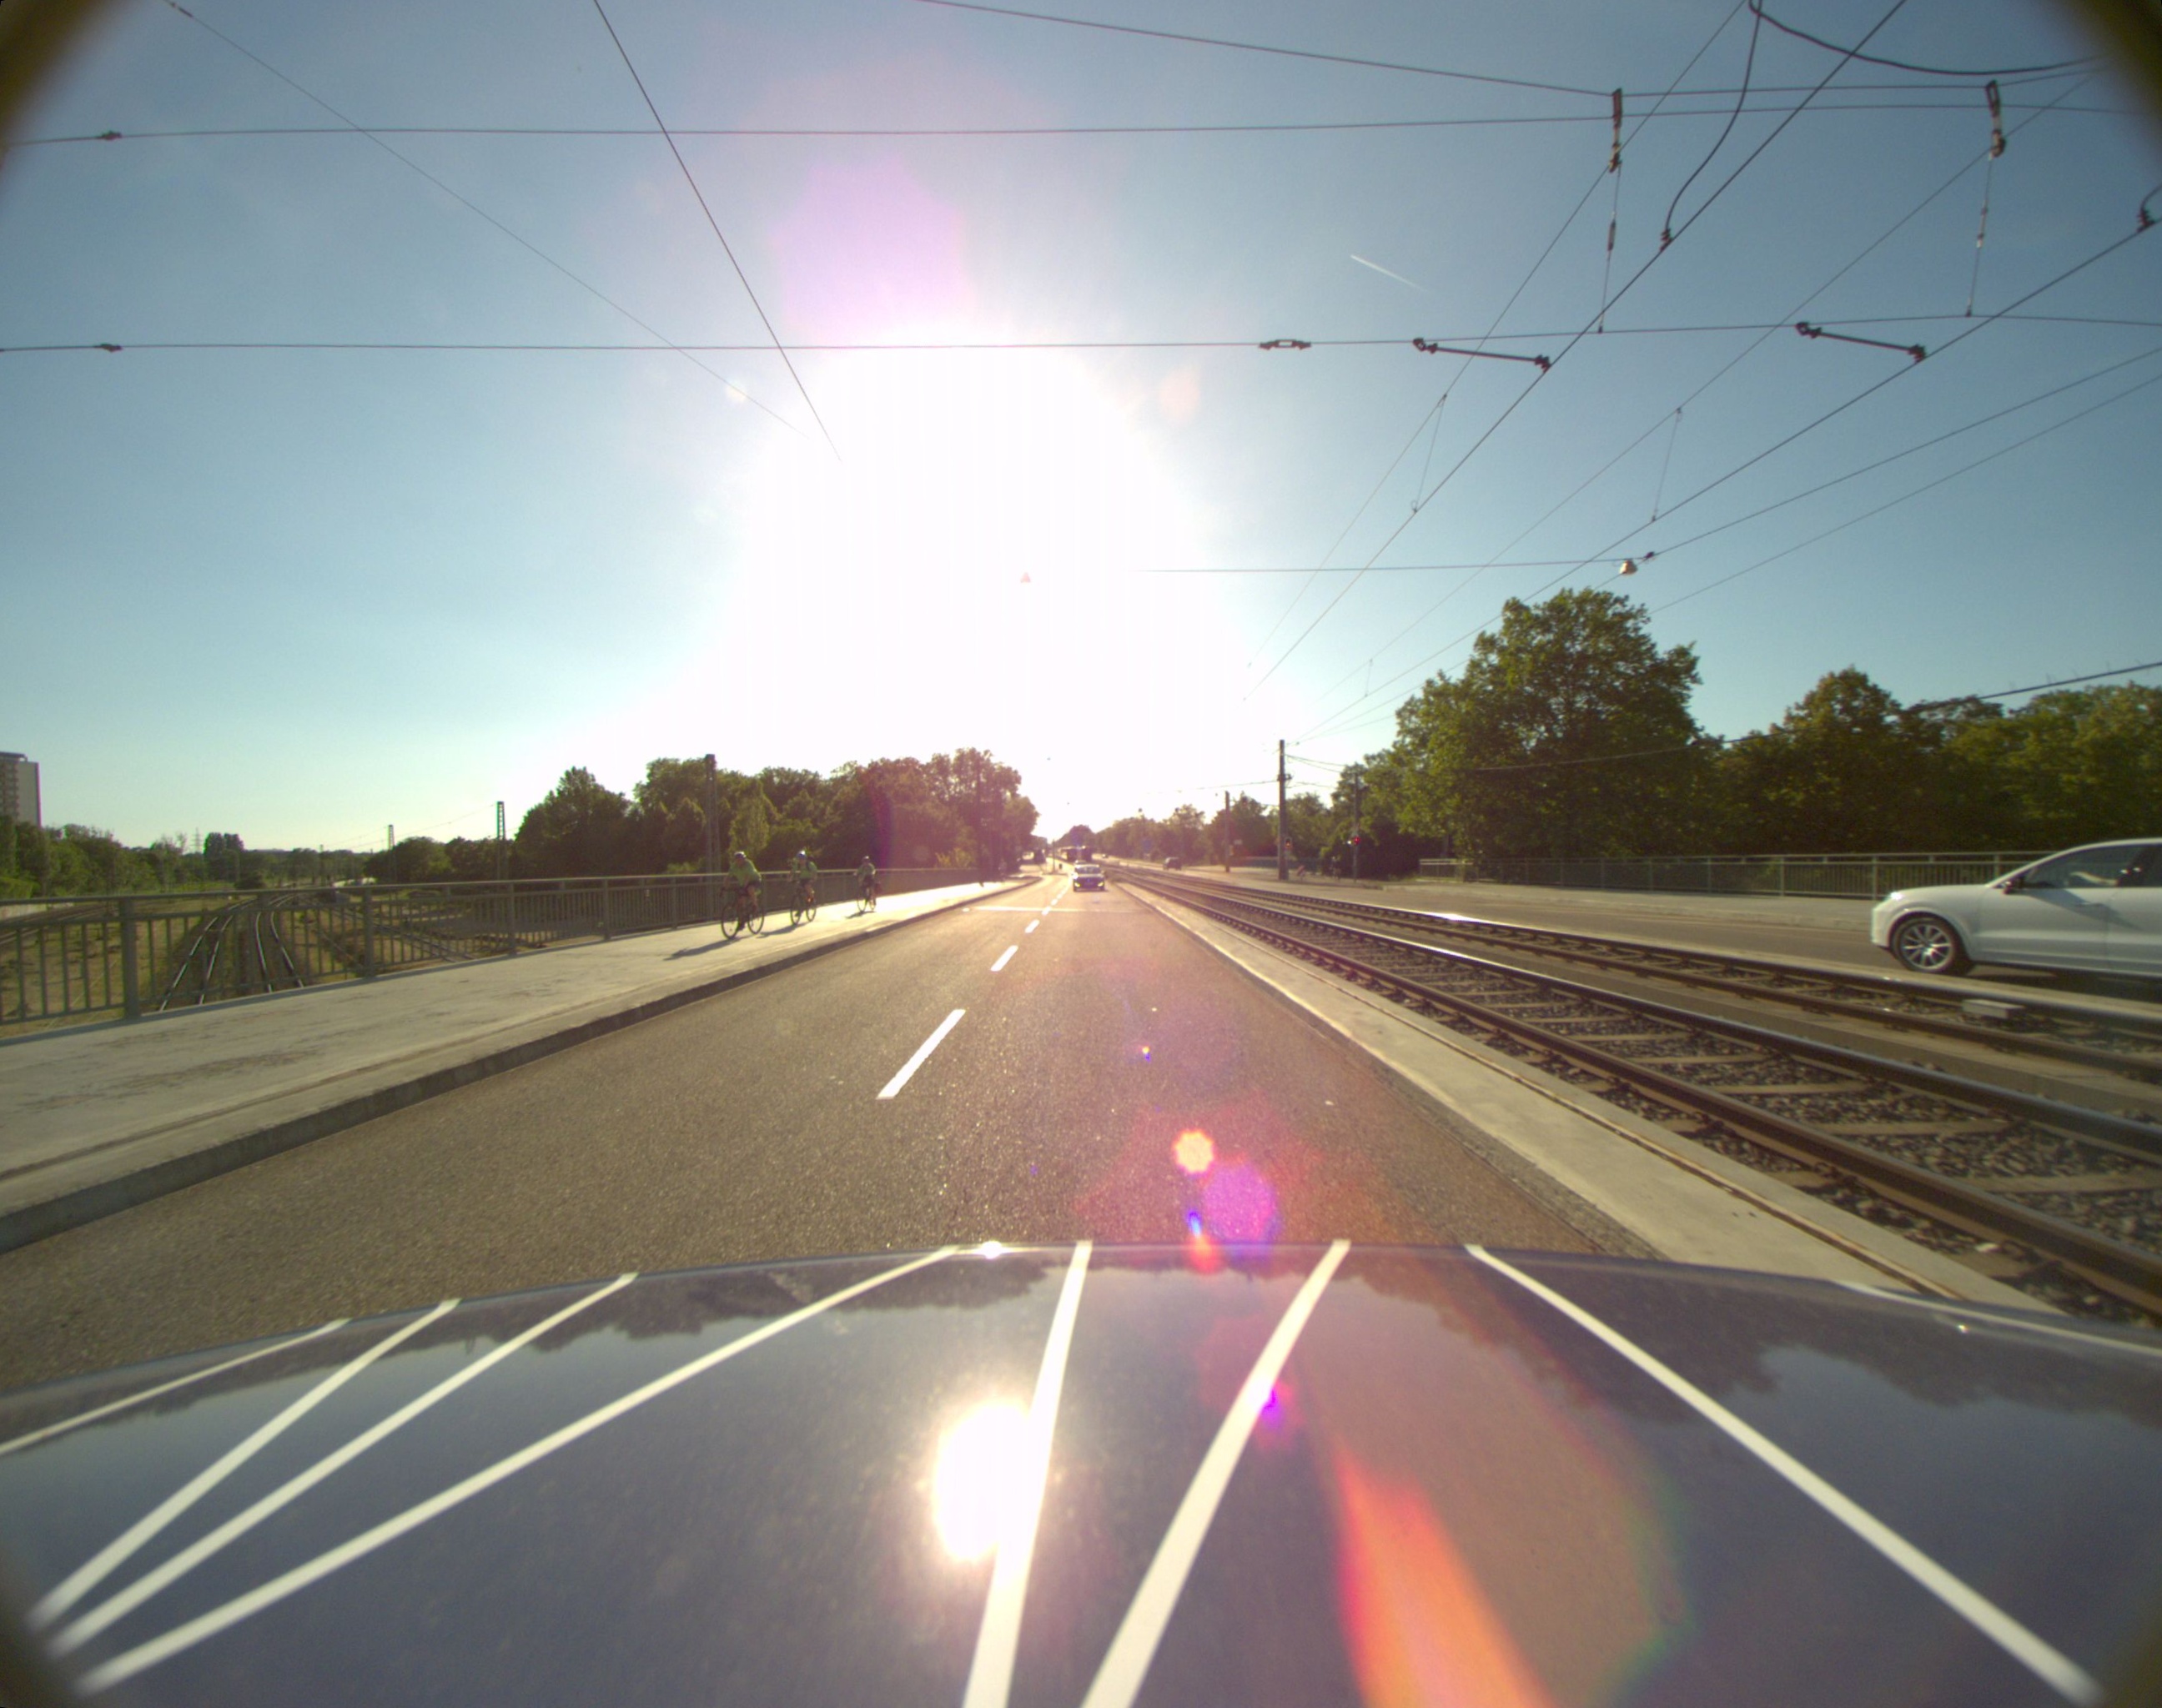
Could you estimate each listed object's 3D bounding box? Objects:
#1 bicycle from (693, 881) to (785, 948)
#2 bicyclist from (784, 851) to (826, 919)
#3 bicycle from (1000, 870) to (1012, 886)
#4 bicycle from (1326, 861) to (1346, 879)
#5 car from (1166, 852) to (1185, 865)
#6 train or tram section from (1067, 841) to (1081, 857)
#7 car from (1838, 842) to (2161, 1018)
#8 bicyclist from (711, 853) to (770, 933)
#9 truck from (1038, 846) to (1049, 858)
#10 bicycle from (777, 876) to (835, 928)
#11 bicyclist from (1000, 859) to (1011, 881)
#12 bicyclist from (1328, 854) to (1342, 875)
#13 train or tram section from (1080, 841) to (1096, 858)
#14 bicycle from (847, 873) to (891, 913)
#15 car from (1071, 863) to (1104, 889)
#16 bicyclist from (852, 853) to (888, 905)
[{"bbox_3d":[-6.652,1.142,14.932,0.626,1.116,2.260,-2,0,3],"label":"bicycle"},{"bbox_3d":[-6.714,0.734,18.507,0.626,1.583,0.931,-2,1,0],"label":"bicyclist"},{"bbox_3d":[-5.883,1.859,59.905,0.733,1.116,2.741,-4,0,-3],"label":"bicycle"},{"bbox_3d":[17.452,1.067,52.042,0.626,1.116,2.259,-2,1,1],"label":"bicycle"},{"bbox_3d":[11.573,0.526,93.262,1.853,1.493,4.218,-2,1,1],"label":"car"},{"bbox_3d":[-1.876,-1.333,194.030,2.570,3.878,11.666,-1,1,-4],"label":"train or tram section"},{"bbox_3d":[11.294,0.716,7.793,2.006,1.627,5.089,-2,1,1],"label":"car"},{"bbox_3d":[-6.666,0.739,14.921,0.626,1.499,1.006,-2,1,3],"label":"bicyclist"},{"bbox_3d":[-9.964,-0.613,201.496,2.611,3.186,7.866,-1,1,-4],"label":"truck"},{"bbox_3d":[-6.666,1.132,18.532,0.626,1.116,2.041,-2,1,0],"label":"bicycle"},{"bbox_3d":[-5.940,1.231,59.920,0.733,1.680,1.202,-4,1,-3],"label":"bicyclist"},{"bbox_3d":[17.442,0.694,52.183,0.626,1.424,0.968,-2,1,1],"label":"bicyclist"},{"bbox_3d":[1.727,-1.163,187.646,2.986,3.878,12.696,-1,1,-3],"label":"train or tram section"},{"bbox_3d":[-6.438,1.164,23.182,0.685,1.116,2.216,-2,-1,0],"label":"bicycle"},{"bbox_3d":[0.343,1.242,43.678,1.802,1.345,4.000,-1,0,0],"label":"car"},{"bbox_3d":[-6.440,0.752,23.200,0.814,1.553,0.896,-2,0,0],"label":"bicyclist"}]
